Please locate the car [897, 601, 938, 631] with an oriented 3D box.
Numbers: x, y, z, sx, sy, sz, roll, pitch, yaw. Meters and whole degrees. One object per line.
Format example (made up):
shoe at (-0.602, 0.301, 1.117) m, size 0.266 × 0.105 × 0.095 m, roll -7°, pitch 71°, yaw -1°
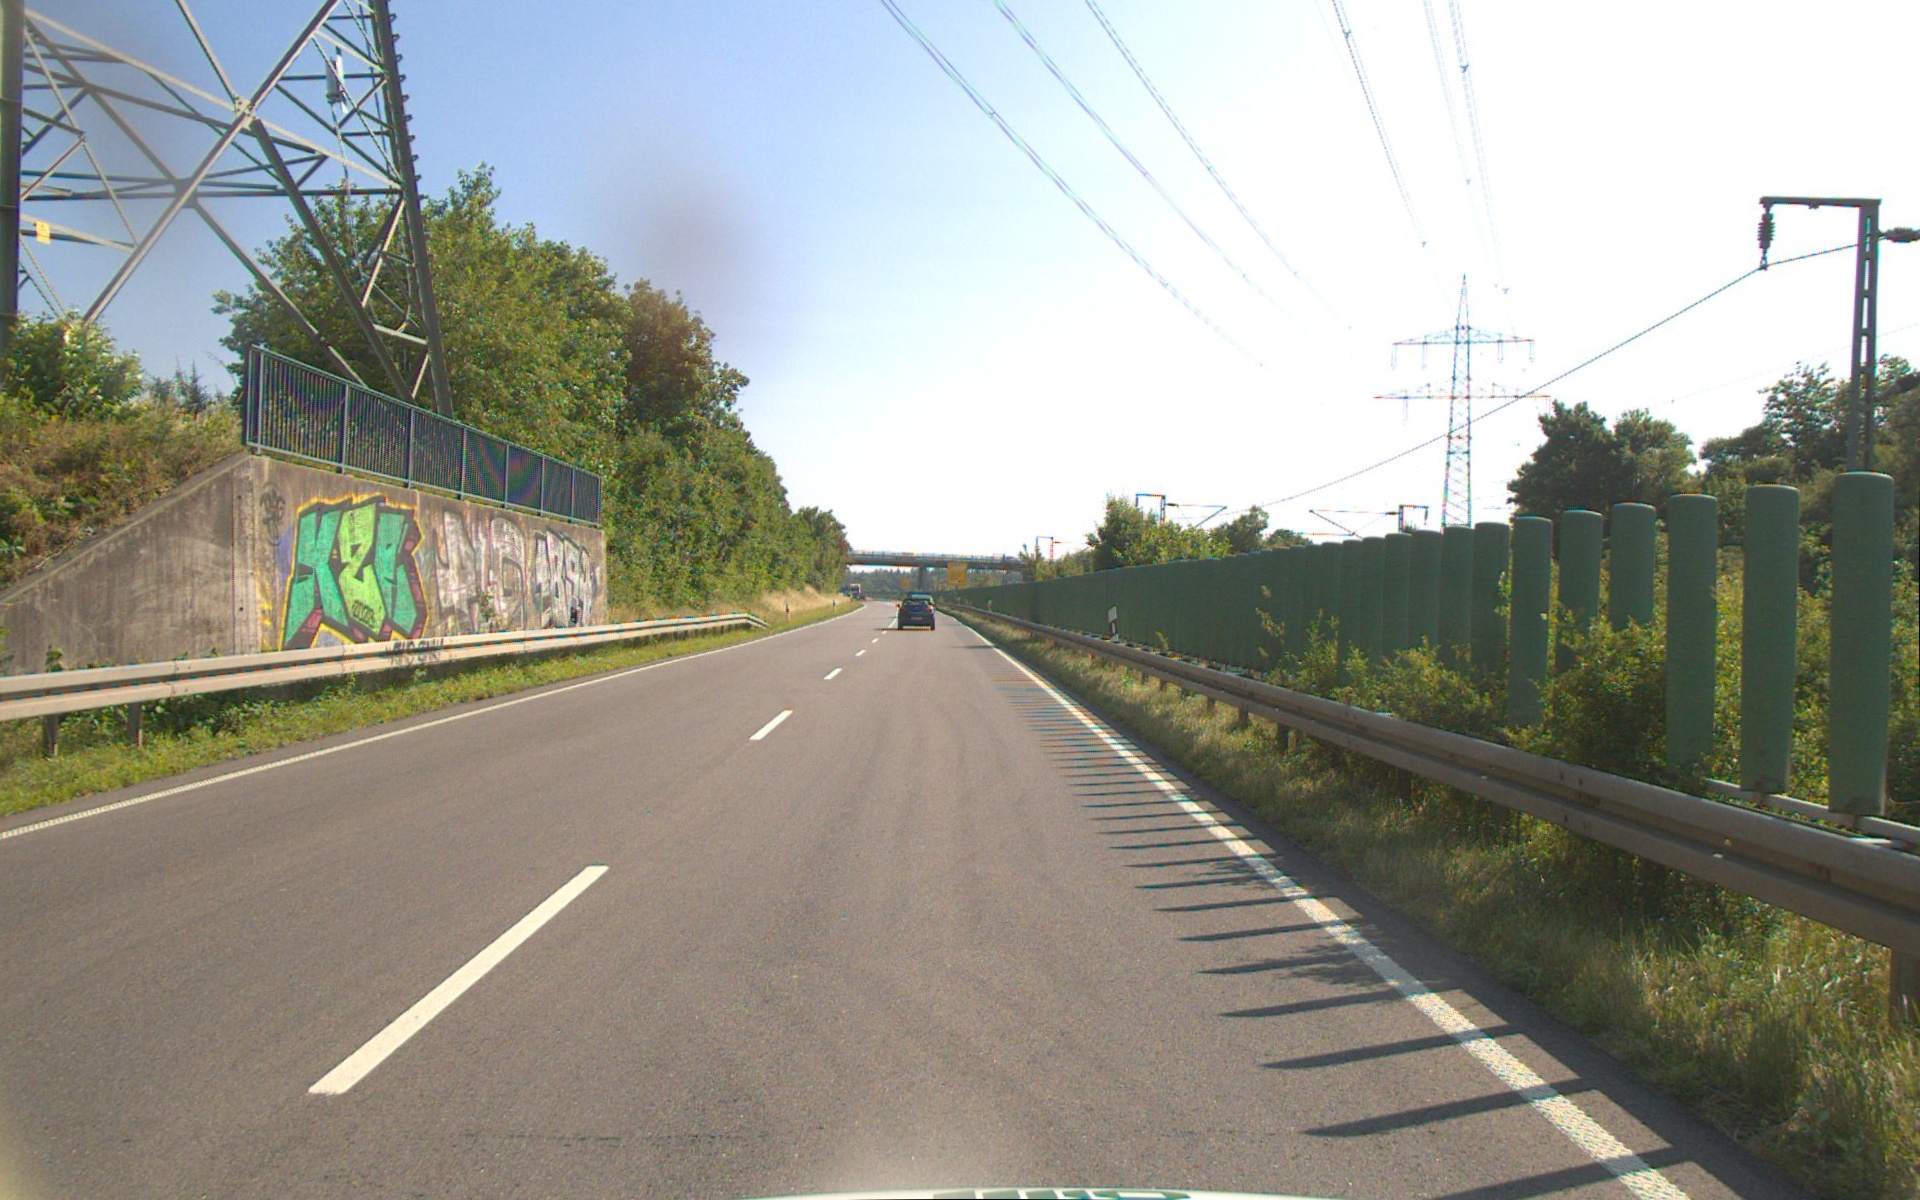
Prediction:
car at (-1.889, 0.694, 72.457) m, size 1.630 × 1.283 × 3.997 m, roll 1°, pitch 0°, yaw -3°
